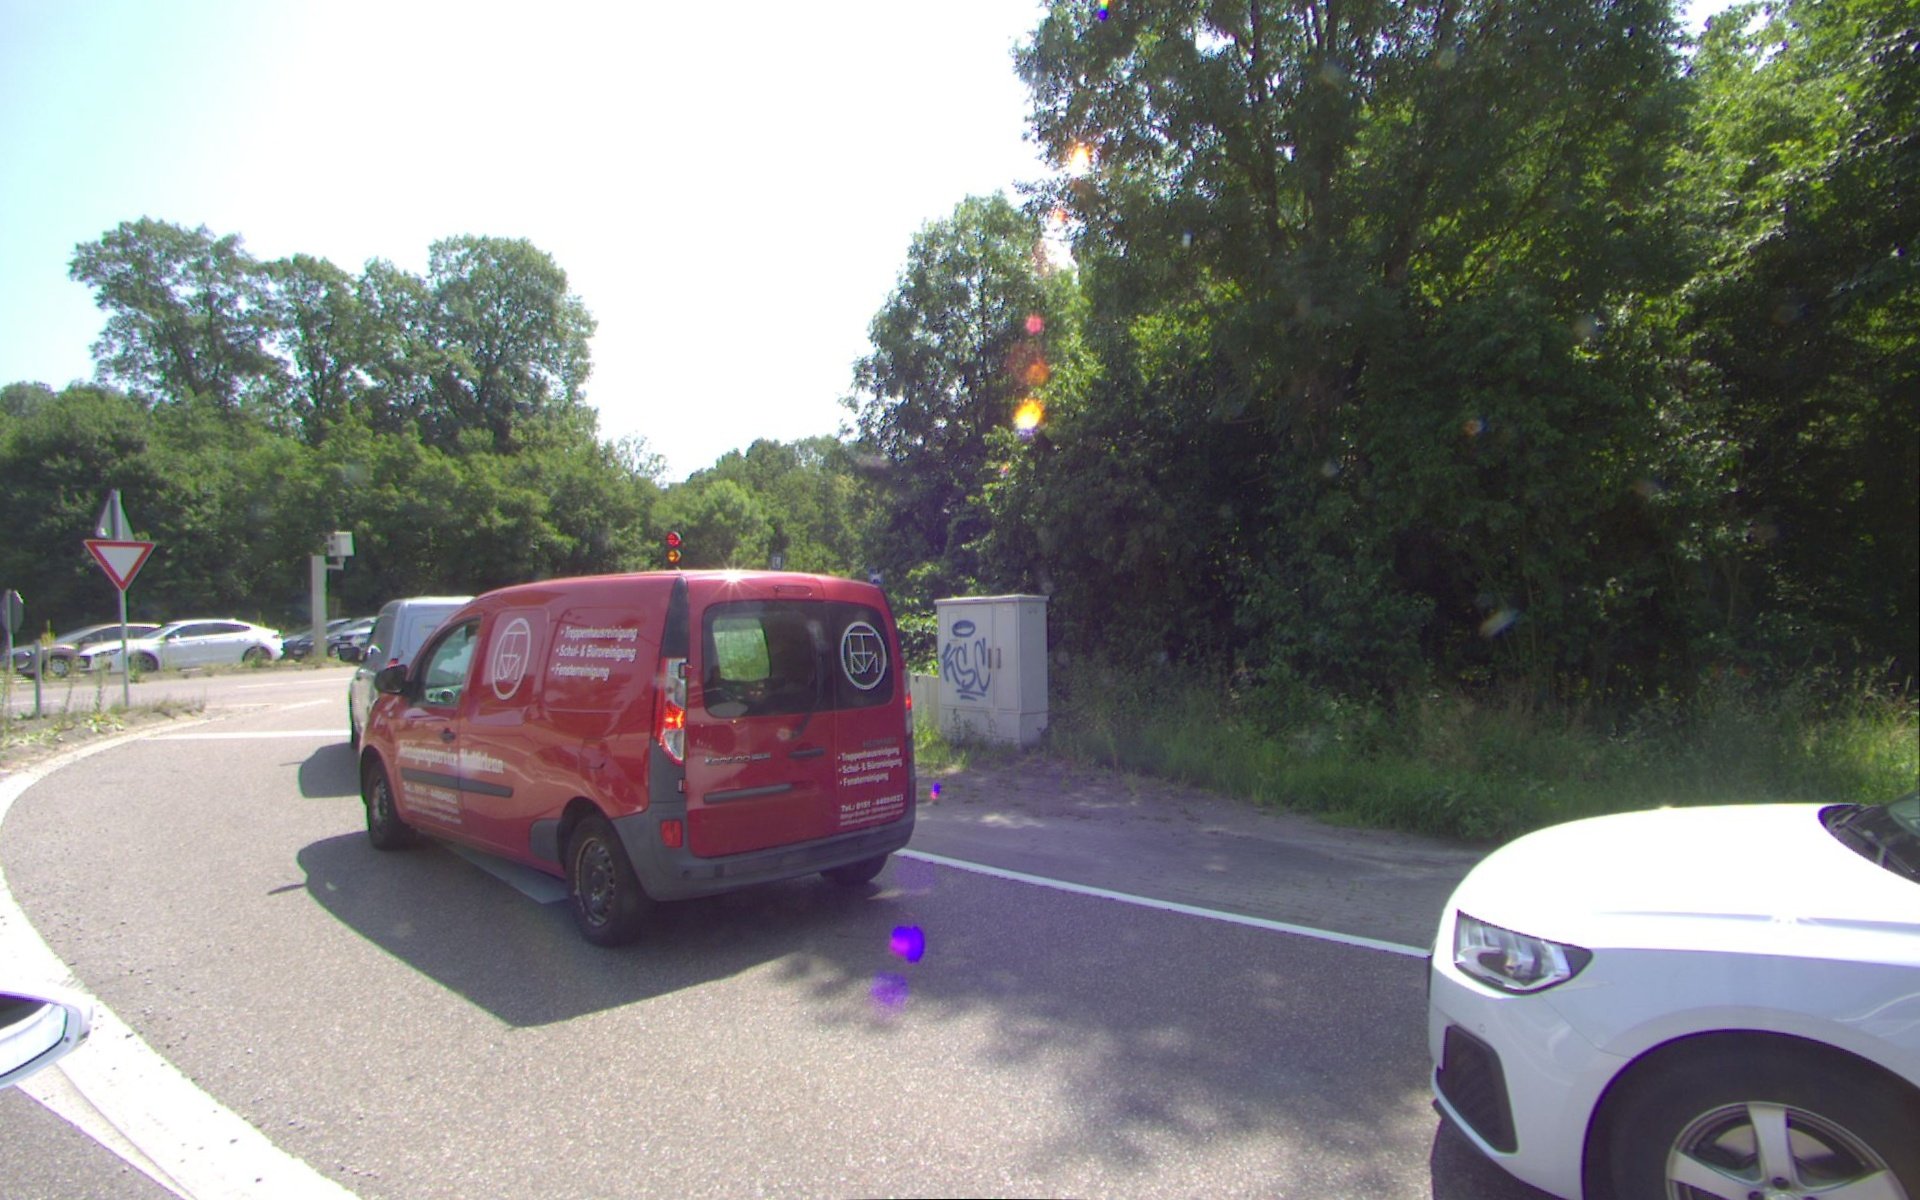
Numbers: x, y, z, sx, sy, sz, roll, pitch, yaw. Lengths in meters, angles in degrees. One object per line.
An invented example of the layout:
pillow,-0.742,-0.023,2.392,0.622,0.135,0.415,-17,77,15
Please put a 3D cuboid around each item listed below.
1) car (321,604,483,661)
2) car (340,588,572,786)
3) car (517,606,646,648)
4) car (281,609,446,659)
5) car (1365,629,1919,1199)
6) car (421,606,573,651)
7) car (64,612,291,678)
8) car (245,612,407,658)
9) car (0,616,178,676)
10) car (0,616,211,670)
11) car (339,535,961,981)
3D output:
car,-17.995,0.991,32.466,1.971,1.681,4.164,-1,0,31
car,-5.798,0.807,11.255,1.740,1.797,4.084,-1,0,-35
car,-14.359,1.007,38.217,1.946,1.433,4.321,-1,0,32
car,-20.367,1.140,34.382,2.092,1.555,4.411,-2,-1,31
car,3.076,0.804,2.017,3.946,1.453,1.686,-1,-3,35
car,-18.113,1.086,39.459,2.108,1.554,5.118,-2,0,31
car,-20.969,1.134,27.030,1.970,1.555,4.413,-1,0,30
car,-23.180,1.250,36.790,2.082,1.518,4.608,-2,0,31
car,-24.778,1.232,28.068,1.965,1.466,4.086,-1,0,29
car,-26.856,1.307,31.463,1.992,1.518,4.922,-2,-1,32
car,-2.222,0.709,6.331,4.447,1.846,1.782,-1,-2,43
